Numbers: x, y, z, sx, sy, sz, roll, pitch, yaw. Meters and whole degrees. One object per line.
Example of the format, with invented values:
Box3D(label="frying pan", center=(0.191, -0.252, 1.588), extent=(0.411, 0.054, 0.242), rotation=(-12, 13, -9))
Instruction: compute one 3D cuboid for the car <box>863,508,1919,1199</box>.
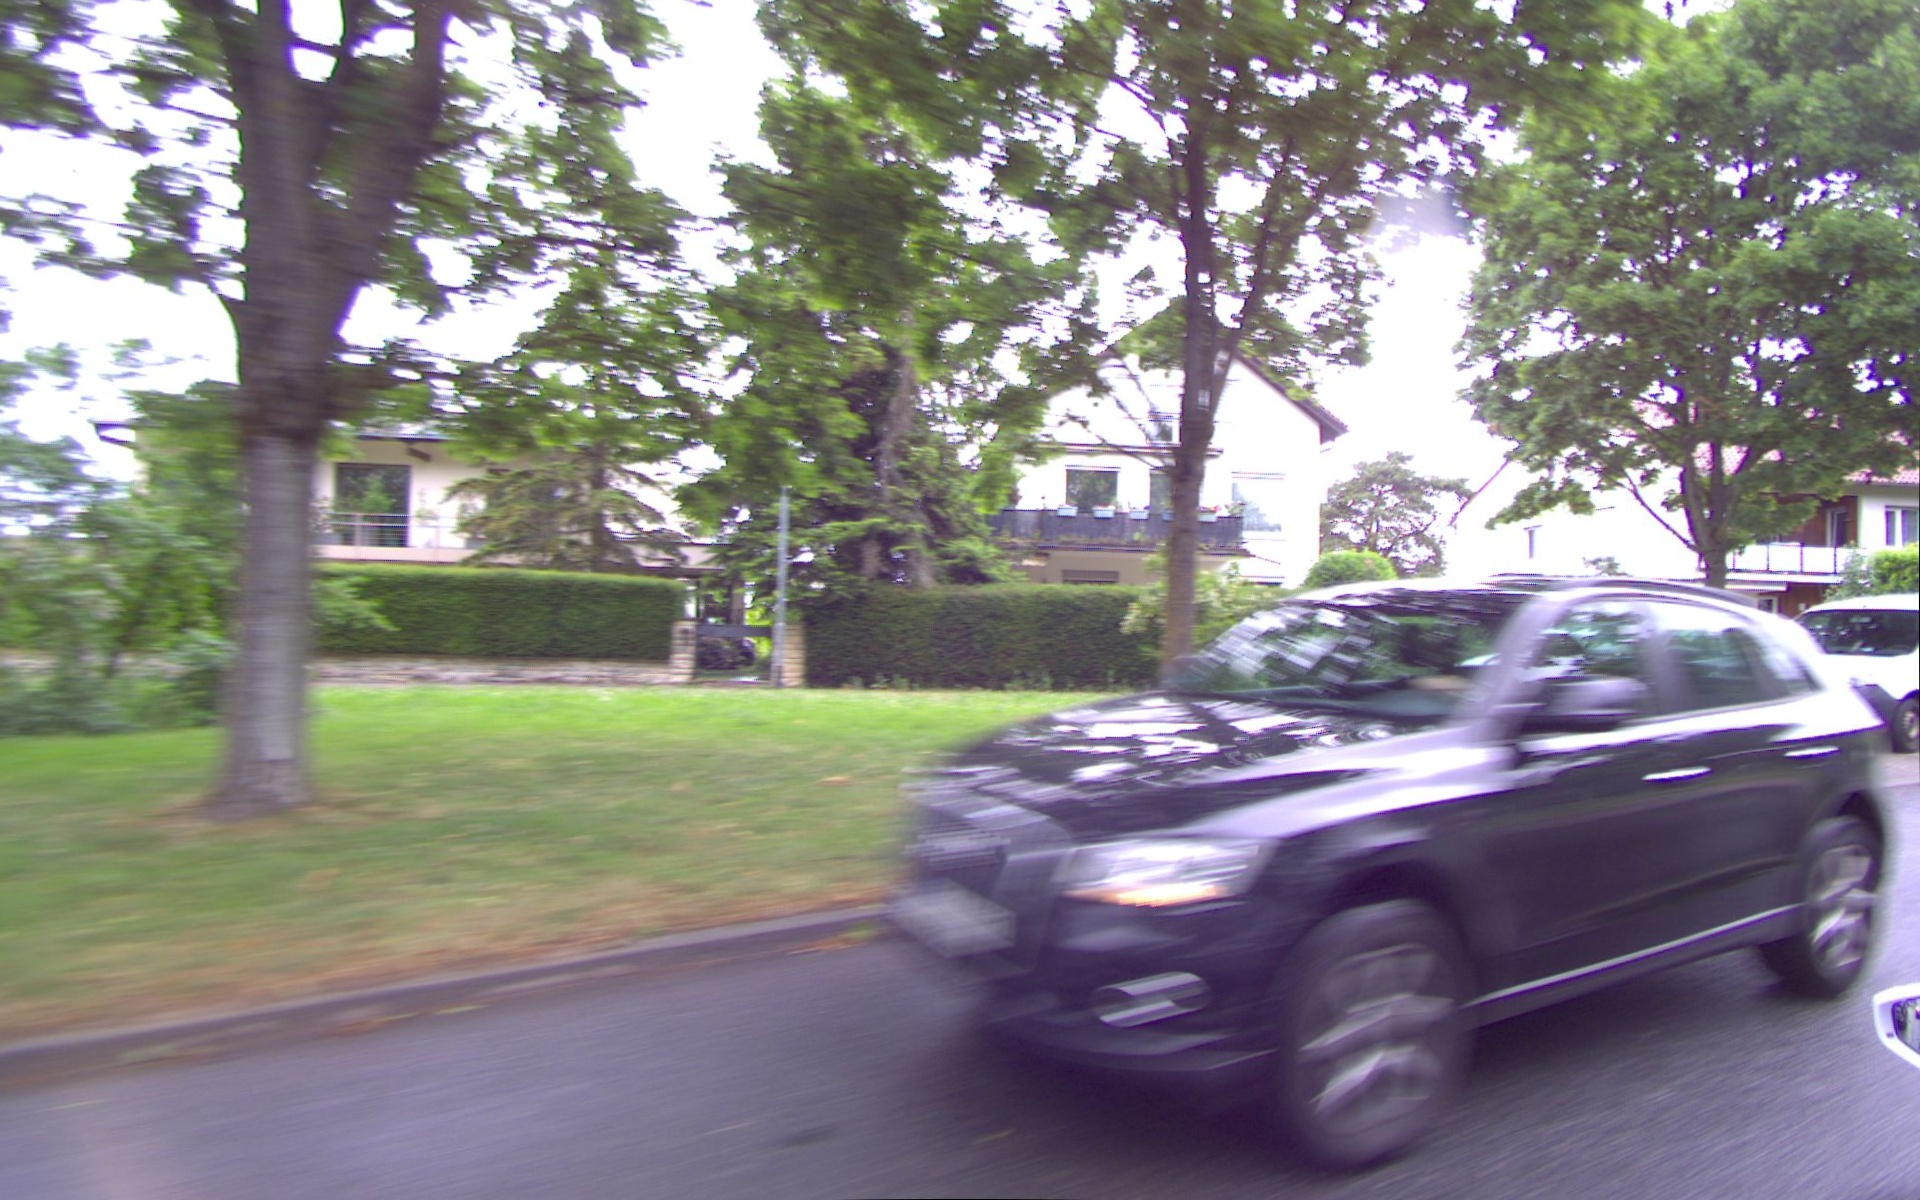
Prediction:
Box3D(label="car", center=(1.959, 0.694, 4.145), extent=(4.350, 1.714, 1.844), rotation=(1, -1, -29))

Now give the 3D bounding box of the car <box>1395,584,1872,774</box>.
Box3D(label="car", center=(6.934, 0.743, 10.360), extent=(4.522, 1.662, 1.748), rotation=(1, 0, -20))

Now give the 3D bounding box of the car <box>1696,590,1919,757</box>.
Box3D(label="car", center=(11.621, 0.850, 12.558), extent=(4.305, 1.819, 1.796), rotation=(1, 0, -20))
